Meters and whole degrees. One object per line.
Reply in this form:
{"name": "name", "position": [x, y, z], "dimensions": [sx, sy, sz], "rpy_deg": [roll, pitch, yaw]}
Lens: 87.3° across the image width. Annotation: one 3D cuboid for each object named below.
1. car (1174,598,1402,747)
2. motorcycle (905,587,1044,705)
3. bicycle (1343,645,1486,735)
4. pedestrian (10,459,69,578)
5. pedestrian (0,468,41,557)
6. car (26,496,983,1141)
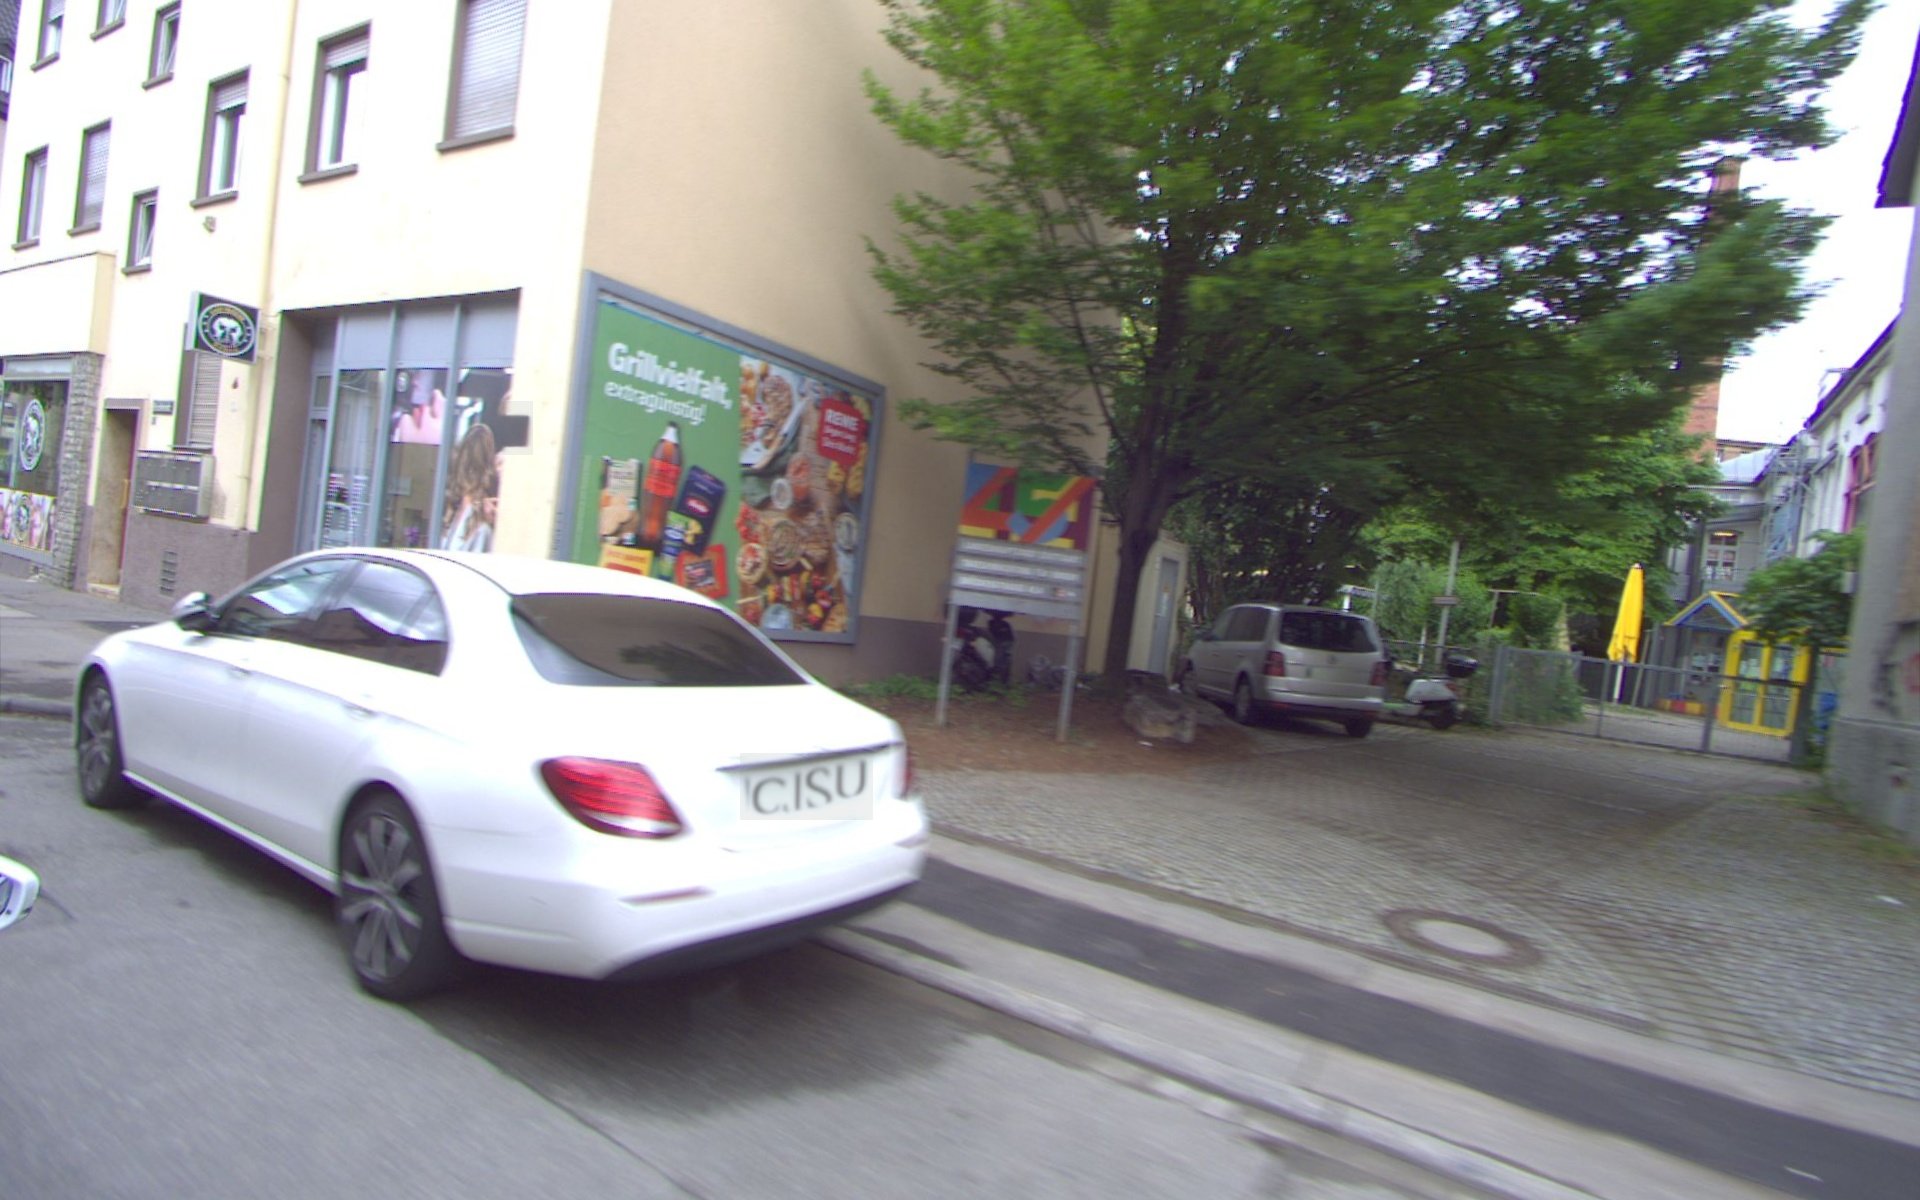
{"name": "car", "position": [4.463, 0.896, 14.338], "dimensions": [1.636, 1.629, 3.830], "rpy_deg": [7, 0, -4]}
{"name": "motorcycle", "position": [0.212, 0.481, 11.753], "dimensions": [0.663, 1.218, 1.992], "rpy_deg": [6, 4, 30]}
{"name": "bicycle", "position": [6.871, 1.343, 15.308], "dimensions": [0.453, 1.126, 1.882], "rpy_deg": [7, -1, -39]}
{"name": "pedestrian", "position": [-14.587, -1.279, 15.949], "dimensions": [0.380, 1.796, 0.396], "rpy_deg": [6, 0, -2]}
{"name": "pedestrian", "position": [-19.027, -1.757, 19.983], "dimensions": [0.786, 1.685, 0.675], "rpy_deg": [6, 1, -5]}
{"name": "car", "position": [-2.401, 0.493, 4.648], "dimensions": [4.707, 1.484, 1.768], "rpy_deg": [7, 0, 35]}
